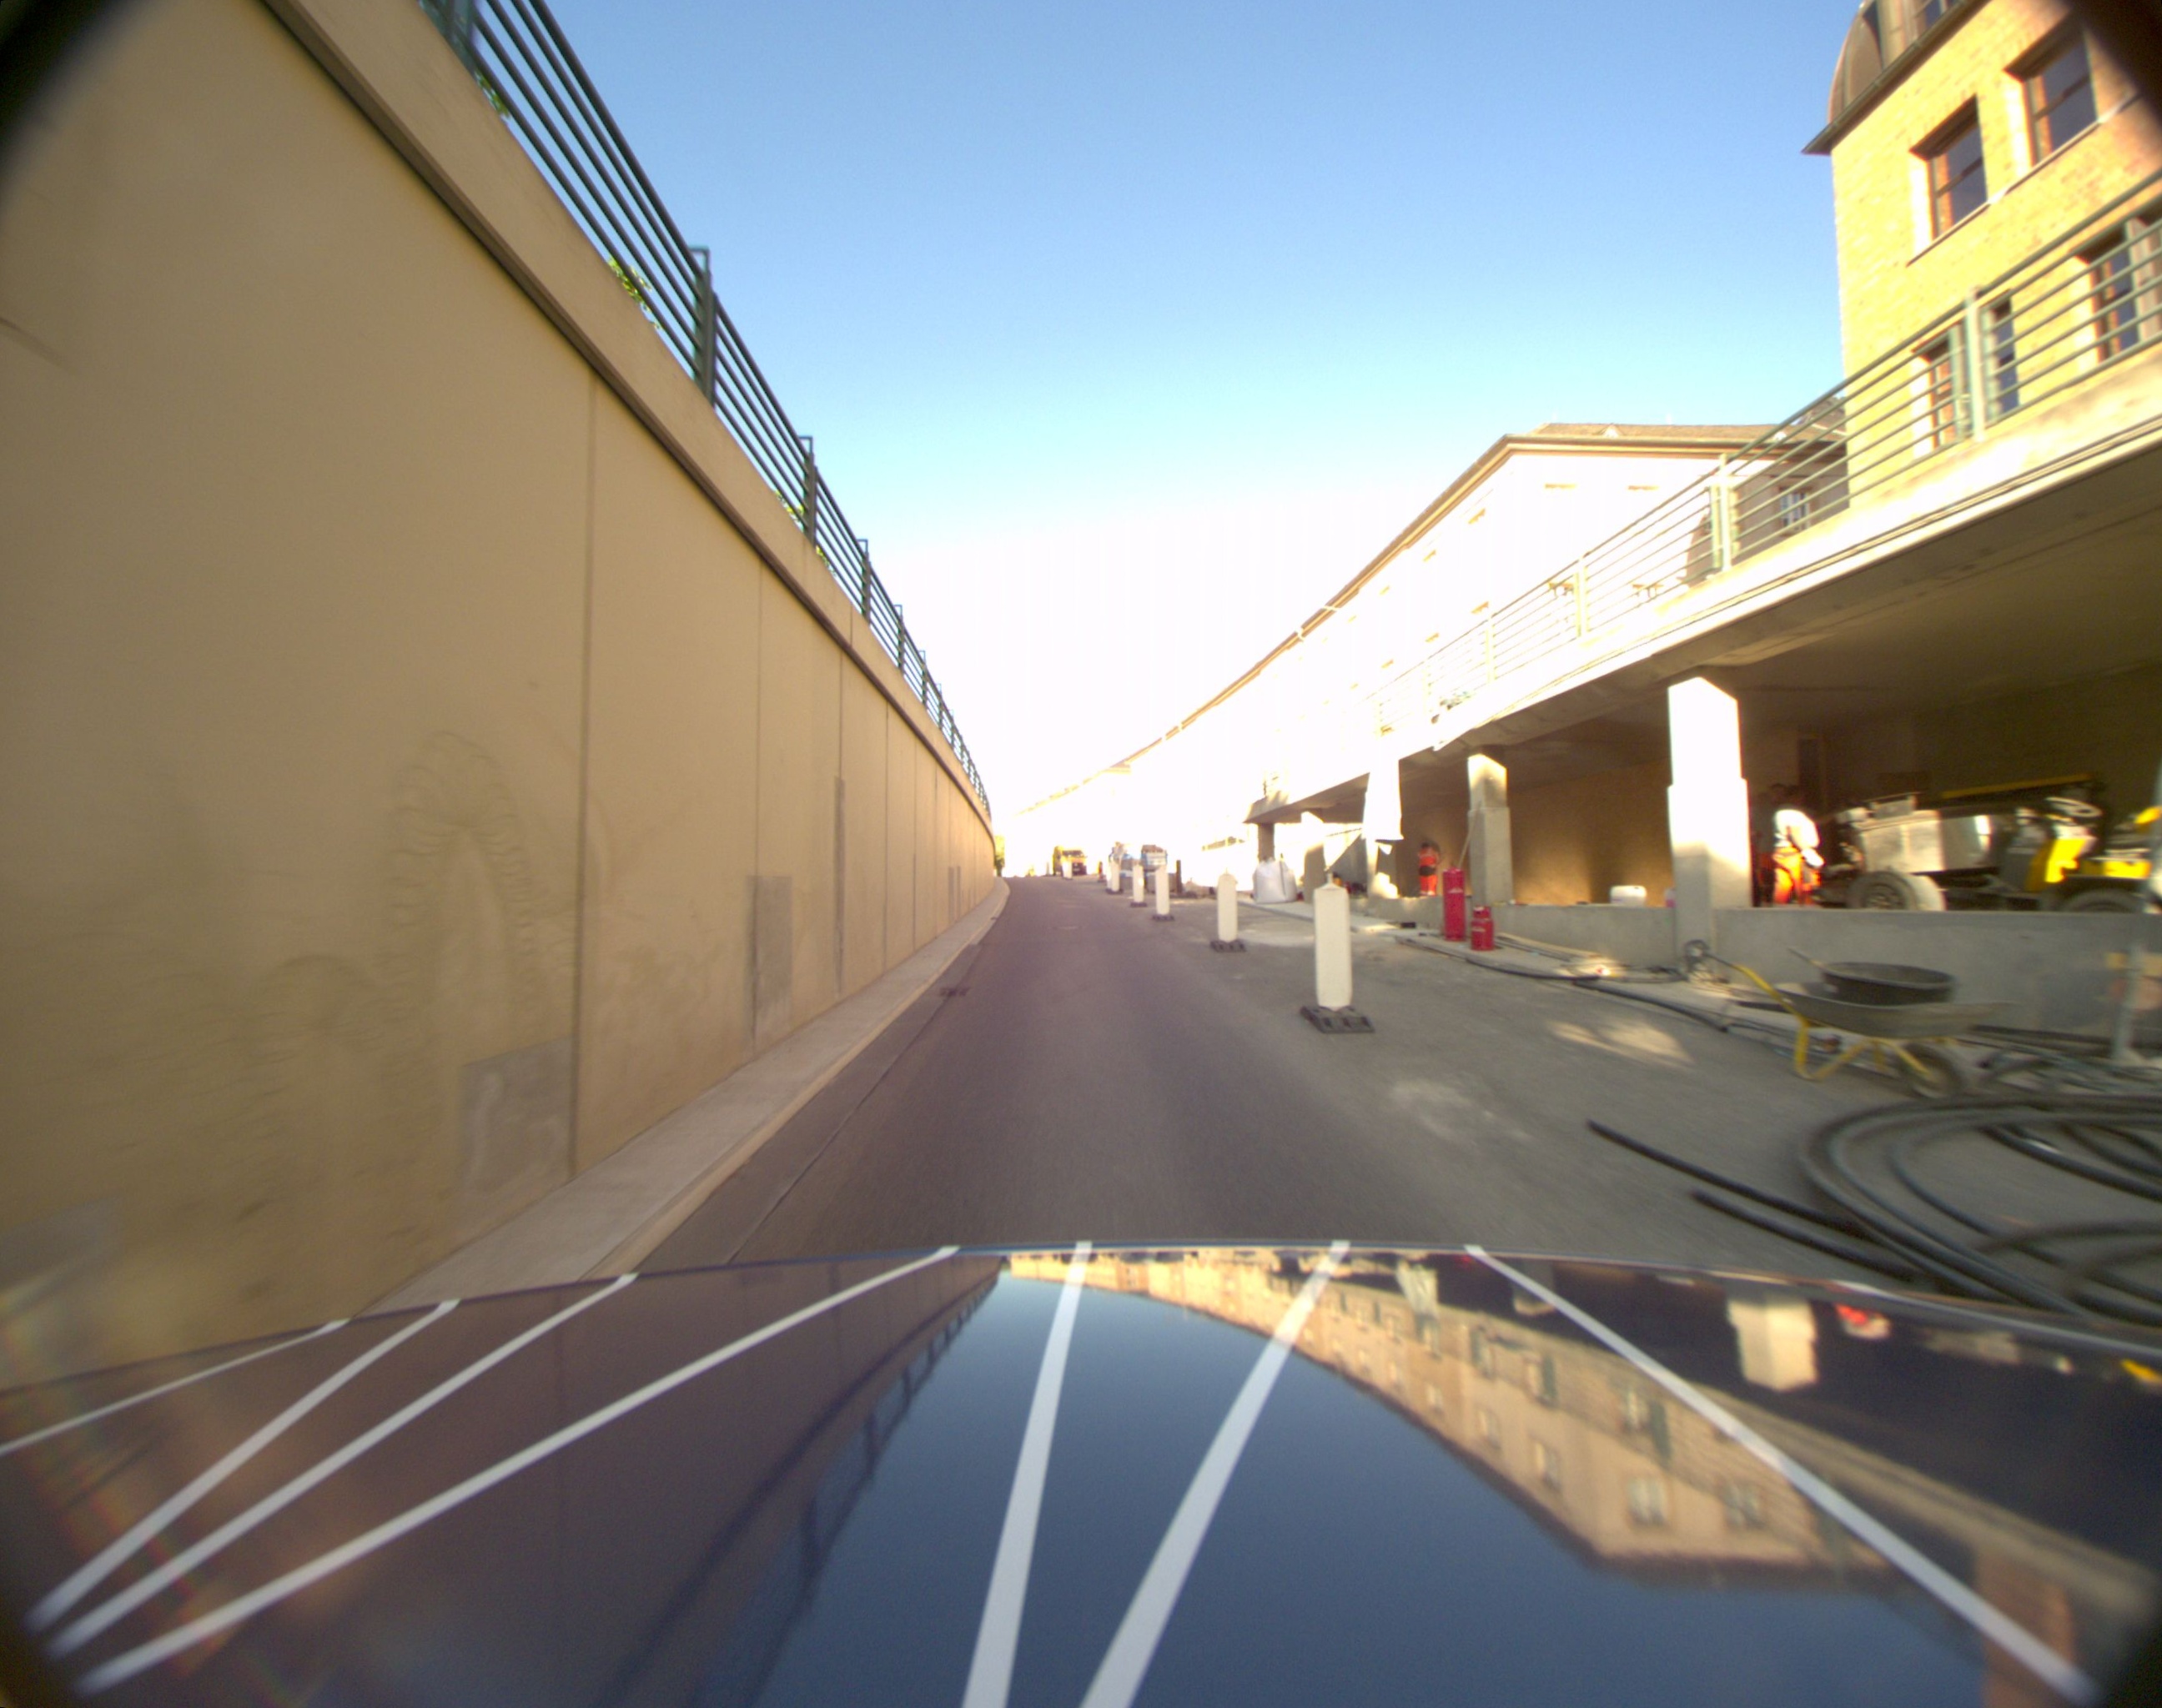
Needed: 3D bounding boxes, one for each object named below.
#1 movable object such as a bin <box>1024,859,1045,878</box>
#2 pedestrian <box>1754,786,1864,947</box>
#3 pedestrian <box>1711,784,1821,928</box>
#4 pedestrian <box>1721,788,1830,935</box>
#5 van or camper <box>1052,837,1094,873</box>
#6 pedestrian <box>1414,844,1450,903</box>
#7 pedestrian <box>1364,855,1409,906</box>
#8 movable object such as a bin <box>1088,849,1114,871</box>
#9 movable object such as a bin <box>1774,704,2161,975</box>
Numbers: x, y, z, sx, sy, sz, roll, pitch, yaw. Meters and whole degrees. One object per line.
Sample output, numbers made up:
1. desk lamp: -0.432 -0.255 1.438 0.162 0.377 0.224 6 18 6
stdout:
1. movable object such as a bin: -6.387 1.998 104.692 1.798 2.437 4.531 1 -3 -19
2. pedestrian: 8.487 0.147 8.883 0.658 1.794 0.625 -2 1 6
3. pedestrian: 9.782 0.025 10.883 0.679 1.945 0.936 -2 1 -2
4. pedestrian: 8.909 0.090 9.775 0.706 1.804 0.709 -2 0 -4
5. van or camper: -0.747 0.126 60.540 2.201 2.597 6.819 -3 0 -9
6. pedestrian: 9.630 0.522 20.851 0.651 1.570 0.630 -1 1 -11
7. pedestrian: 8.558 0.721 21.295 0.874 1.390 0.782 0 1 -11
8. movable object such as a bin: 2.251 0.786 88.264 2.107 2.380 4.305 2 -2 -11
9. movable object such as a bin: 8.732 -0.113 6.899 1.891 1.975 3.158 -1 0 -4
